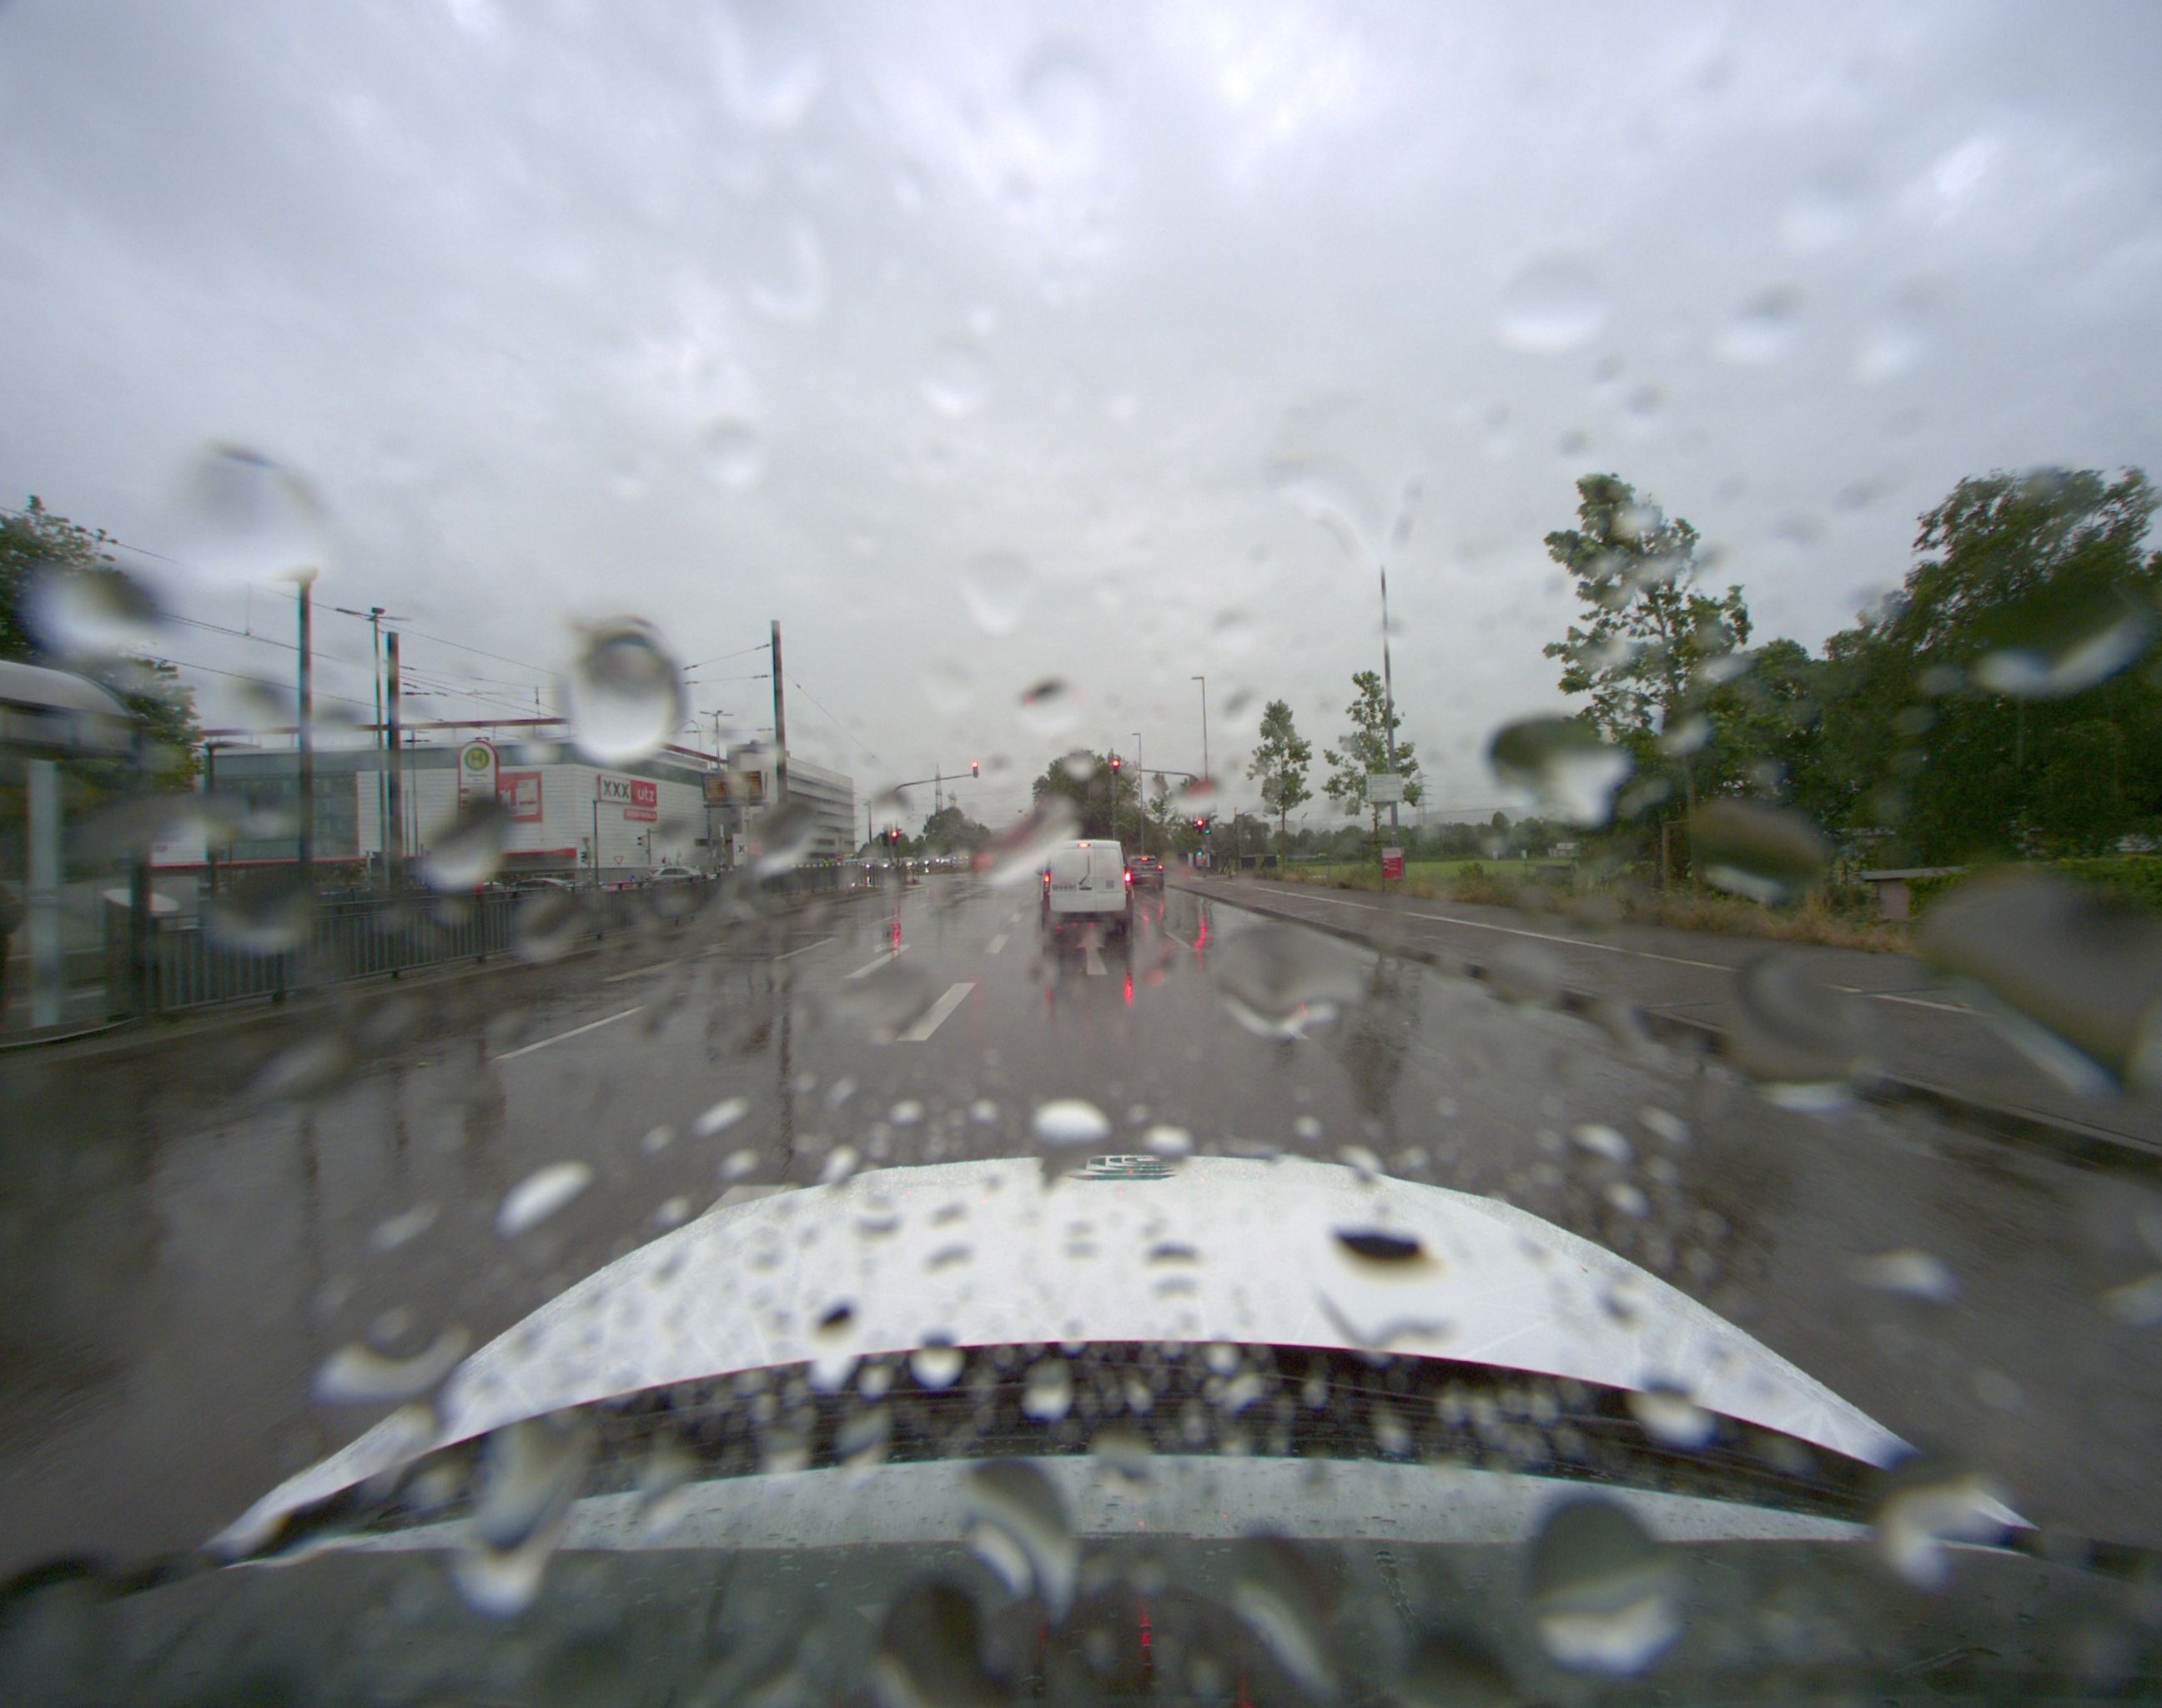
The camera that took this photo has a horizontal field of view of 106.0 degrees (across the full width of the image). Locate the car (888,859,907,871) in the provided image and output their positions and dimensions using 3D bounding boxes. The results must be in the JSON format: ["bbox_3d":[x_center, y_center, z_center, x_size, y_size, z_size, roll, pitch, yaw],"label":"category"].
[{"bbox_3d":[-22.181,1.338,98.519,1.555,1.426,3.567,0,-1,-1],"label":"car"}]

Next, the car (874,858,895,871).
[{"bbox_3d":[-22.061,1.210,91.443,1.555,1.426,3.567,0,-1,-1],"label":"car"}]

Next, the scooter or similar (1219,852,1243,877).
[{"bbox_3d":[7.626,0.532,41.501,0.688,1.211,3.020,-2,0,1],"label":"scooter or similar"}]

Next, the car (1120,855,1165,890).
[{"bbox_3d":[2.746,0.822,37.165,1.679,1.508,3.918,0,-1,-1],"label":"car"}]

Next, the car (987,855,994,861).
[{"bbox_3d":[-24.174,1.091,217.140,1.555,1.426,3.567,0,-1,-1],"label":"car"}]

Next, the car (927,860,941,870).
[{"bbox_3d":[-22.138,1.637,122.604,1.555,1.426,3.567,0,-1,-1],"label":"car"}]

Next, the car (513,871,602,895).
[{"bbox_3d":[-31.785,1.775,49.566,4.177,1.451,1.715,0,-2,-4],"label":"car"}]

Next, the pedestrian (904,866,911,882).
[{"bbox_3d":[-9.972,1.140,46.868,0.314,0.897,0.380,0,0,-3],"label":"pedestrian"}]

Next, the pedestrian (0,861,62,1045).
[{"bbox_3d":[-8.940,0.808,6.785,0.319,1.493,0.416,0,-1,4],"label":"pedestrian"}]

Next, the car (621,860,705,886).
[{"bbox_3d":[-27.318,1.280,53.366,4.449,1.662,1.947,0,-2,-10],"label":"car"}]

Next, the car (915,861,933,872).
[{"bbox_3d":[-21.594,1.751,112.323,1.705,1.426,3.807,0,-1,-1],"label":"car"}]

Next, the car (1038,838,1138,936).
[{"bbox_3d":[0.032,0.588,17.000,1.751,1.750,4.163,-1,0,-4],"label":"car"}]

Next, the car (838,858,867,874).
[{"bbox_3d":[-21.899,1.176,78.307,1.705,1.426,3.807,0,-1,-1],"label":"car"}]

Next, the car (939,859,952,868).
[{"bbox_3d":[-22.702,1.613,136.844,1.555,1.426,3.567,0,-1,-1],"label":"car"}]

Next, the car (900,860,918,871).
[{"bbox_3d":[-22.181,1.508,105.004,1.555,1.426,3.567,0,-1,-1],"label":"car"}]
